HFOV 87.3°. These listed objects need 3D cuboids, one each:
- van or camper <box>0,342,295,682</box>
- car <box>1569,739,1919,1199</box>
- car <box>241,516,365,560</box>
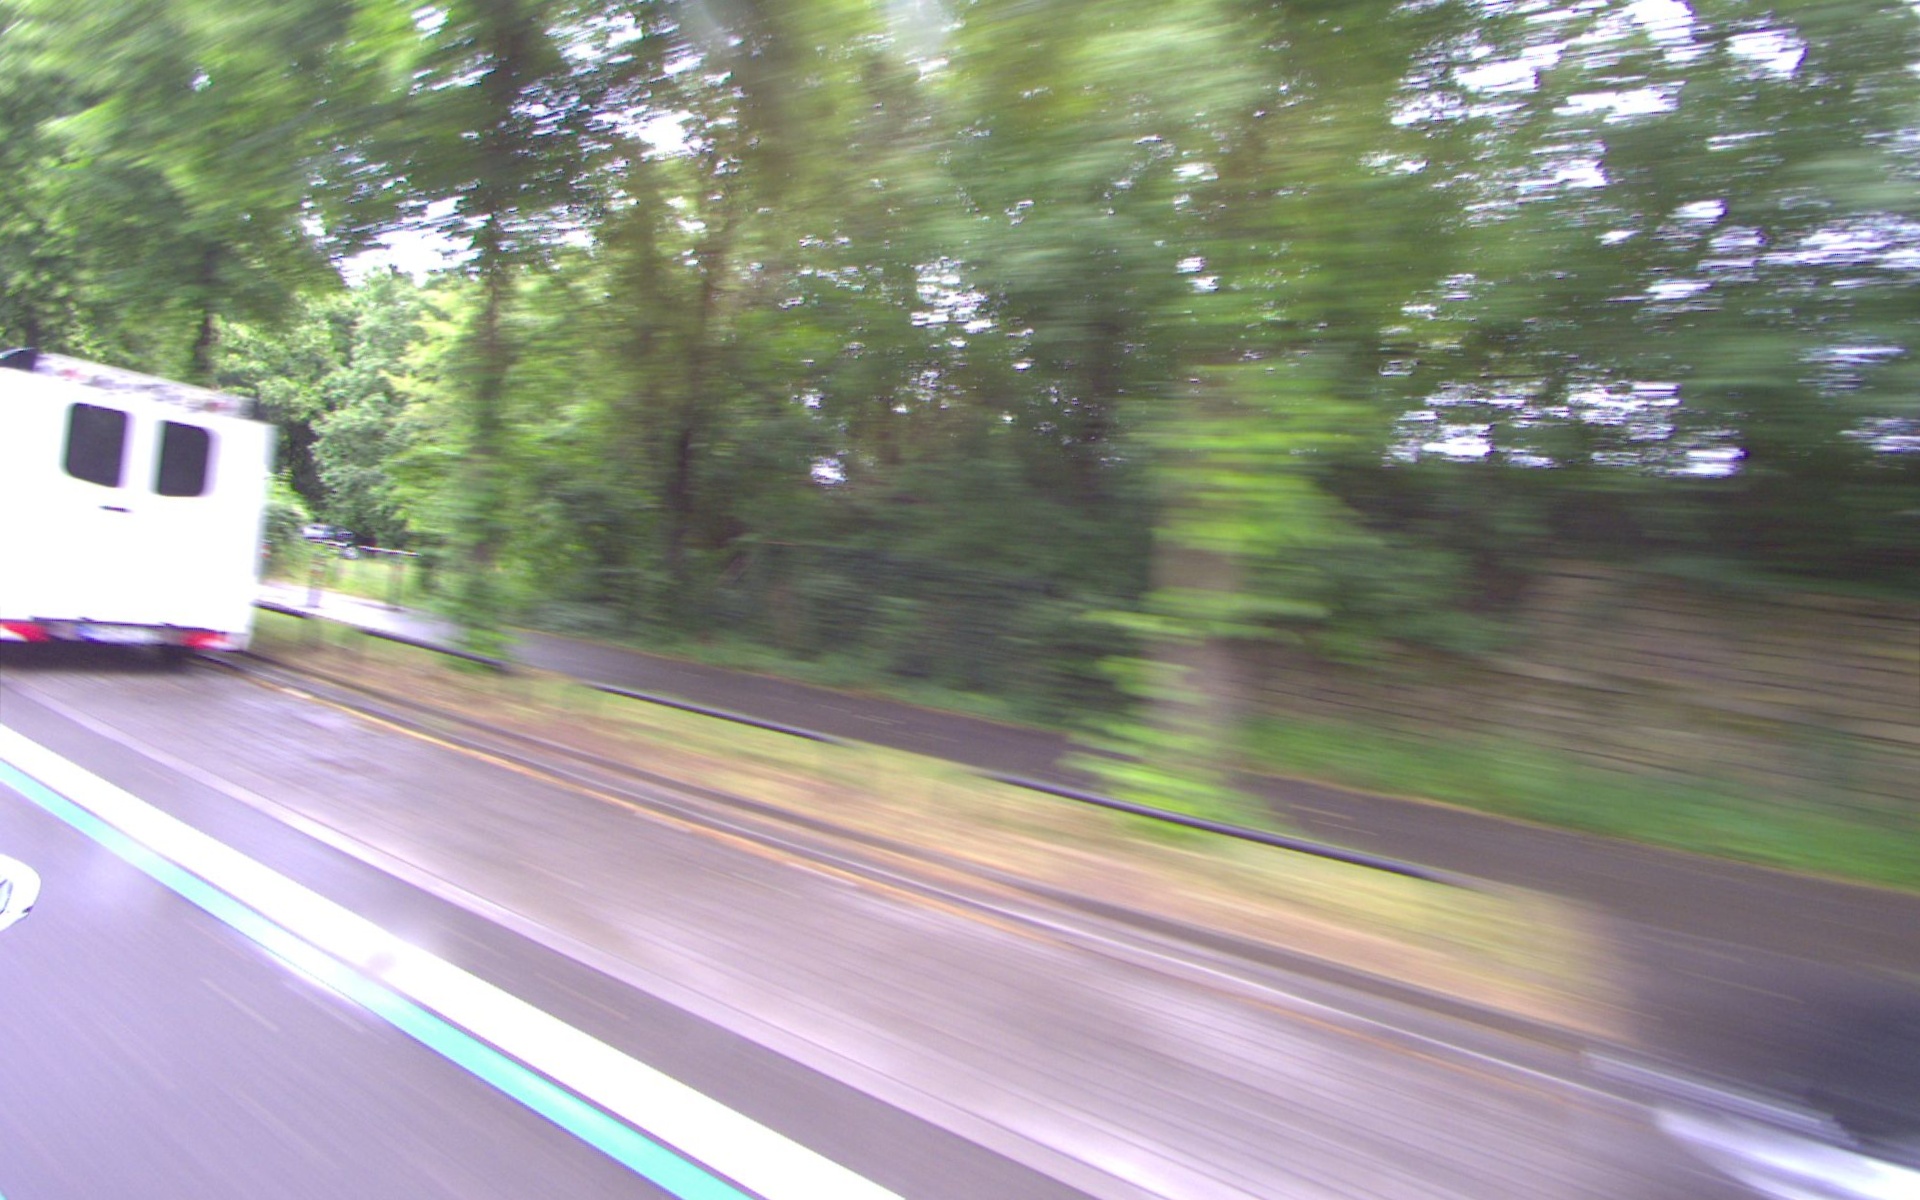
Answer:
[{"bbox_3d":[-9.889,-0.949,10.776,6.282,2.696,2.318,7,-1,36],"label":"van or camper"},{"bbox_3d":[3.499,1.284,1.779,3.931,1.392,1.682,6,-1,29],"label":"car"},{"bbox_3d":[-27.472,-2.572,42.122,4.117,1.339,1.869,6,0,-40],"label":"car"}]
